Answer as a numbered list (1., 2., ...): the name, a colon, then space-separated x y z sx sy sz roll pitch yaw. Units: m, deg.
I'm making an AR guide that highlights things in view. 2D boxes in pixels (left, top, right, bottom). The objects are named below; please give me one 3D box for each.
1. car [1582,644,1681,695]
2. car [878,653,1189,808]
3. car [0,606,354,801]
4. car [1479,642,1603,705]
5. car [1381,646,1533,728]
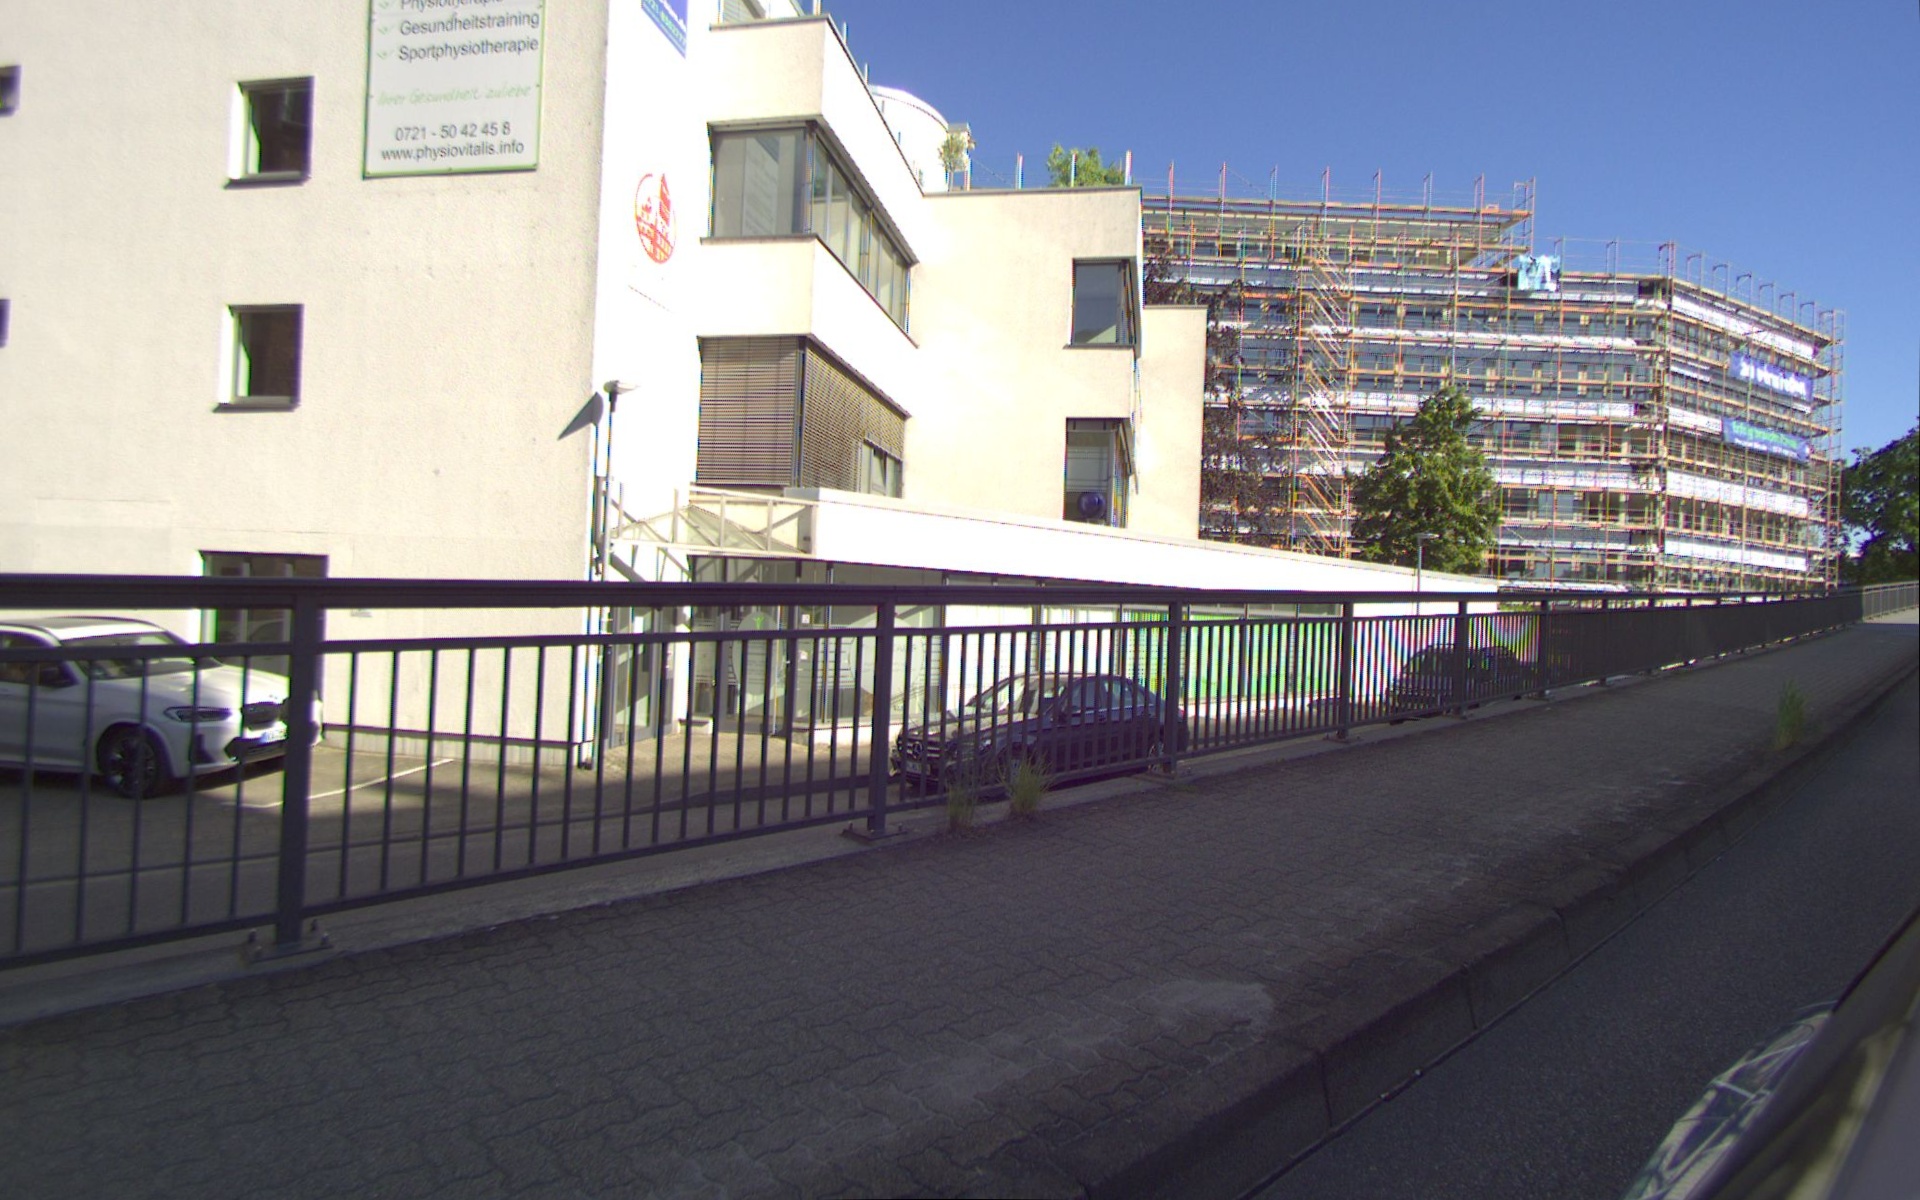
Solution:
1. car: 21.291 2.152 32.043 3.931 1.410 1.723 1 -1 -42
2. car: 1.043 1.533 13.019 3.930 1.541 1.724 1 -1 -41
3. car: -9.309 1.005 11.036 4.455 1.707 1.840 2 0 9
4. car: 15.193 1.849 26.393 3.931 1.410 1.723 1 -1 -42
5. car: 11.077 1.844 22.456 3.931 1.541 1.723 1 -1 -42
